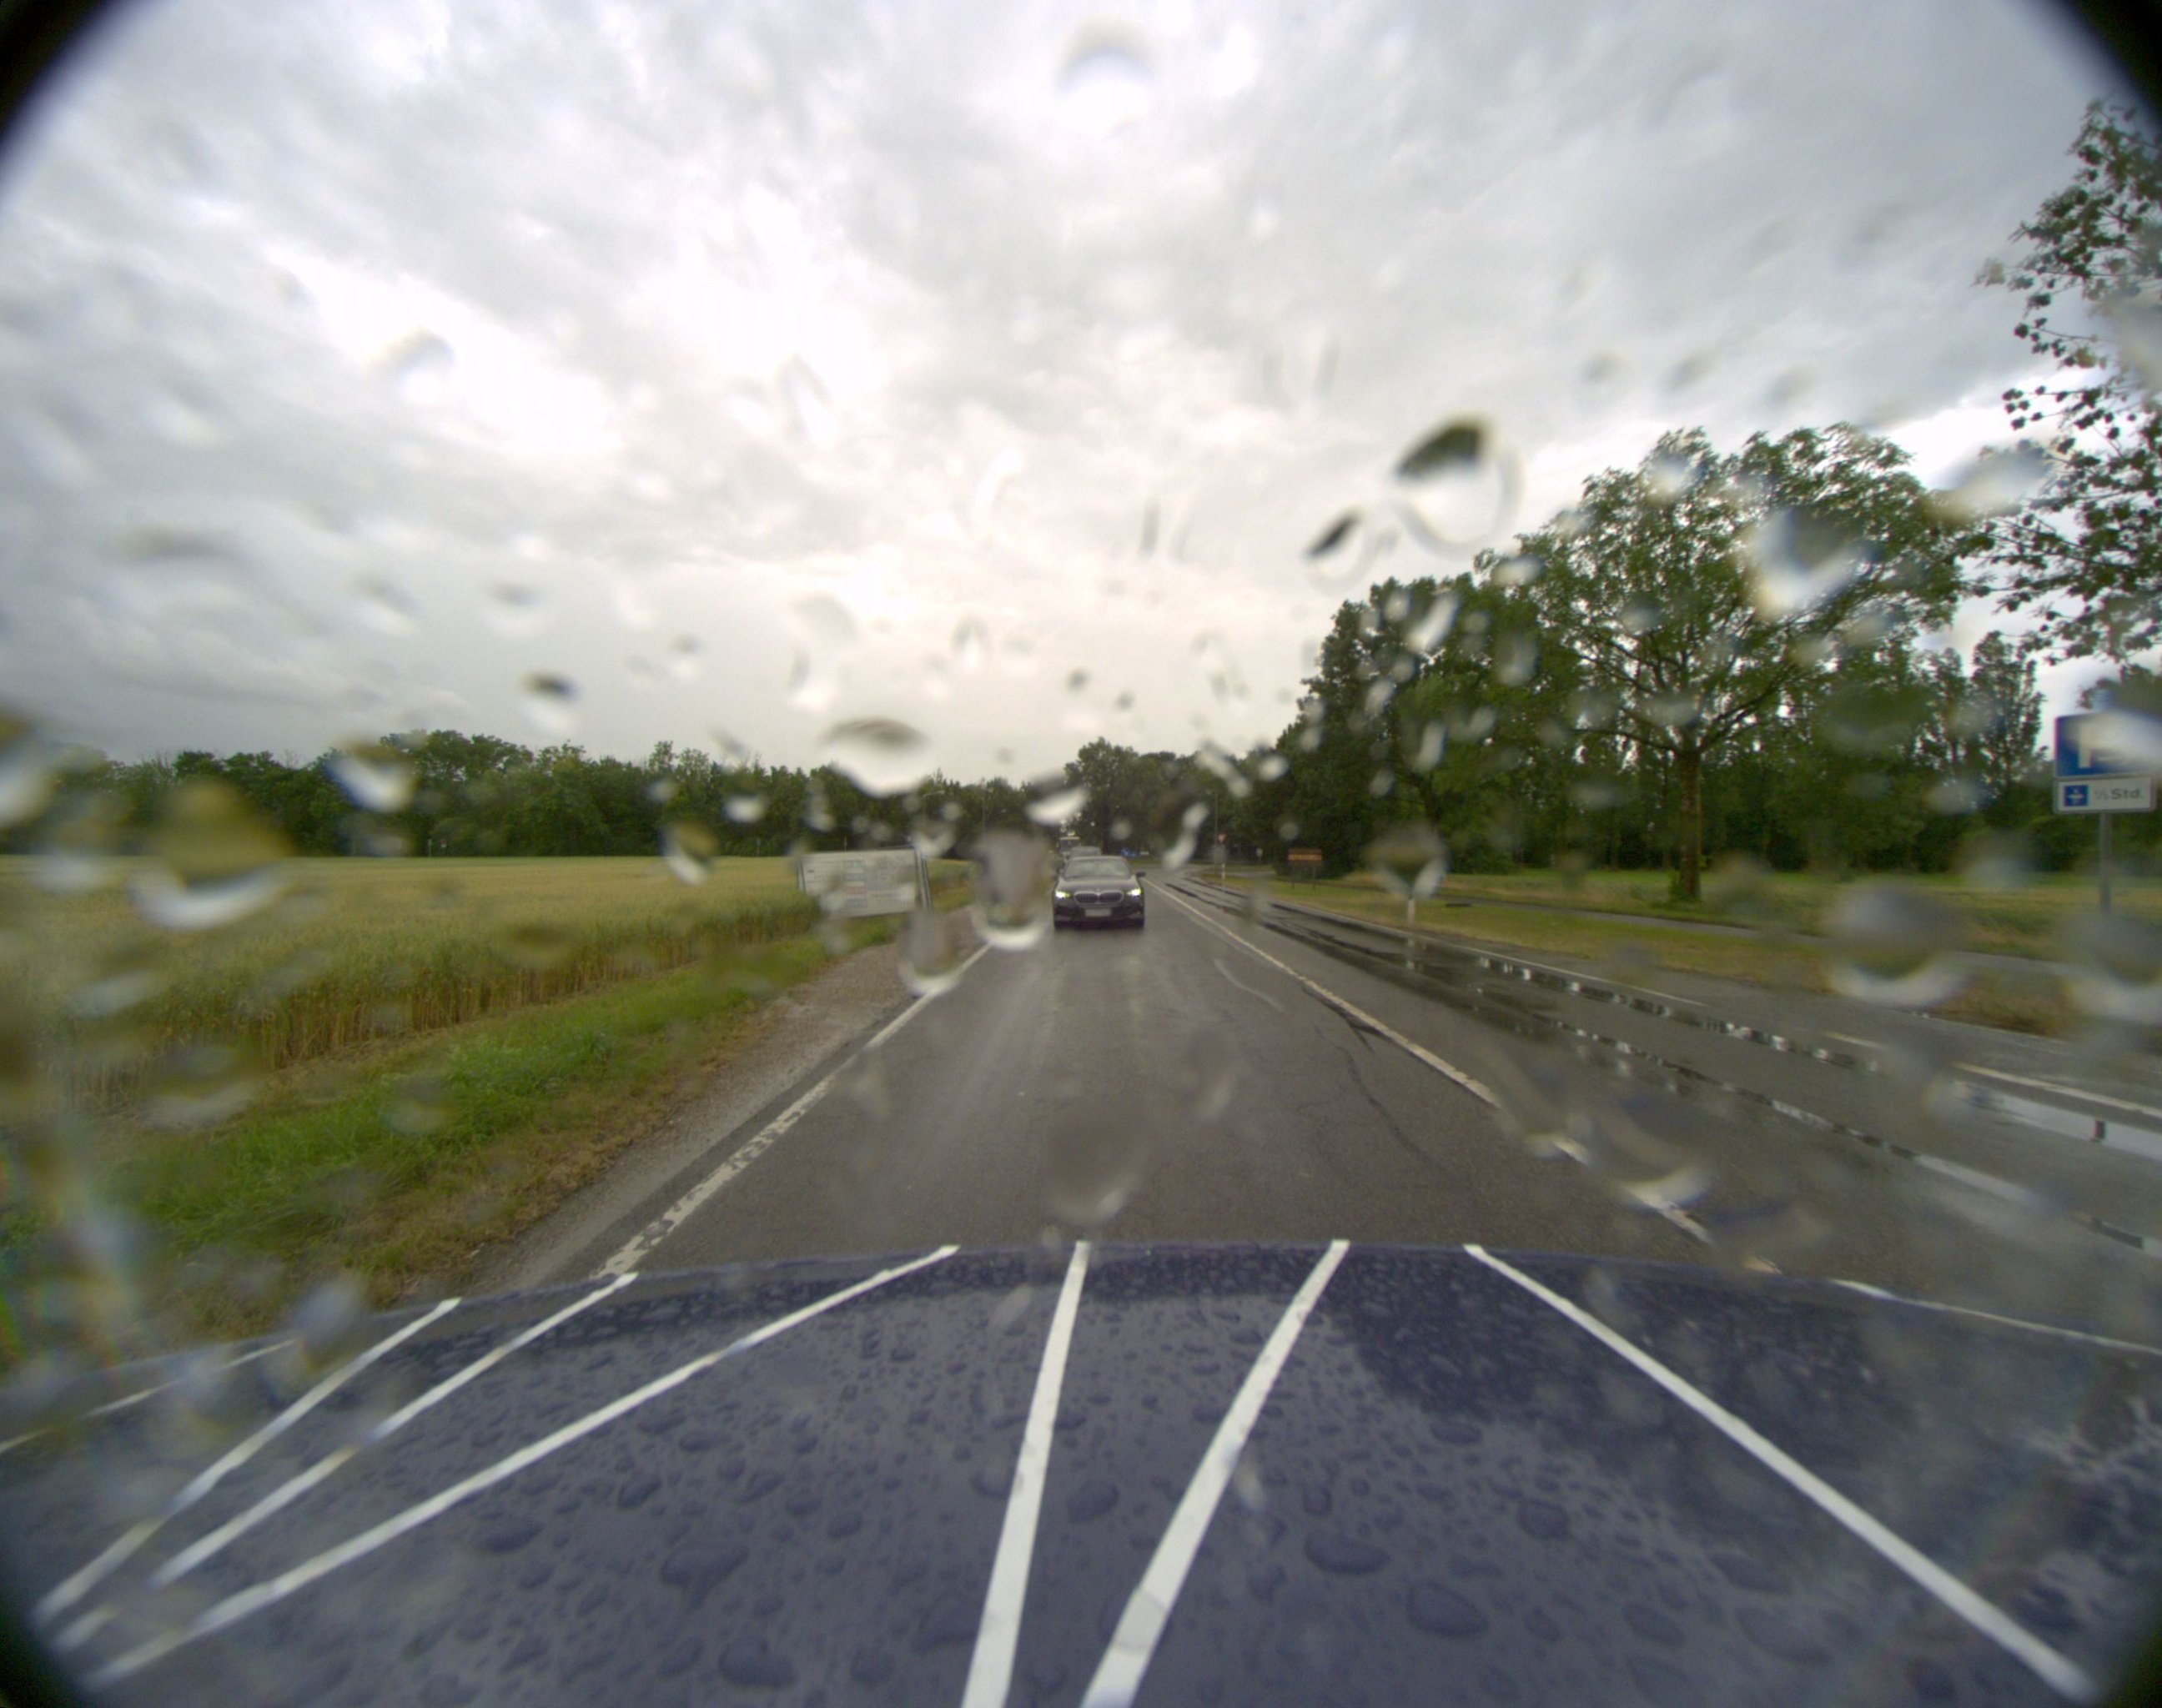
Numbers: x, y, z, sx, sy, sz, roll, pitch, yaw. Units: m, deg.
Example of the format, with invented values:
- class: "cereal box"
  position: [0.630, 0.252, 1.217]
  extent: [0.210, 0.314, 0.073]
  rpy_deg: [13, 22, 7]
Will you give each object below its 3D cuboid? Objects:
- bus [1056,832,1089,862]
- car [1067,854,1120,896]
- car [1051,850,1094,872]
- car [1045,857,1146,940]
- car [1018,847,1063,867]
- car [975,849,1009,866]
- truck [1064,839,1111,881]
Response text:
- class: "bus"
  position: [-0.990, -0.928, 100.576]
  extent: [2.995, 3.665, 14.298]
  rpy_deg: [1, 0, 4]
- class: "car"
  position: [0.461, 0.788, 29.898]
  extent: [1.892, 1.482, 4.192]
  rpy_deg: [-2, 0, 0]
- class: "car"
  position: [-0.719, 0.507, 56.608]
  extent: [1.894, 1.522, 5.248]
  rpy_deg: [-1, 0, -15]
- class: "car"
  position: [0.306, 0.855, 16.462]
  extent: [1.891, 1.484, 4.035]
  rpy_deg: [-1, 0, 1]
- class: "car"
  position: [-3.469, 0.249, 63.573]
  extent: [1.896, 1.522, 4.491]
  rpy_deg: [-2, 1, -30]
- class: "car"
  position: [-8.537, 0.319, 72.601]
  extent: [1.895, 1.522, 4.493]
  rpy_deg: [-2, 1, -25]
- class: "truck"
  position: [0.295, 0.273, 43.223]
  extent: [2.076, 2.050, 5.765]
  rpy_deg: [-3, 2, -4]
